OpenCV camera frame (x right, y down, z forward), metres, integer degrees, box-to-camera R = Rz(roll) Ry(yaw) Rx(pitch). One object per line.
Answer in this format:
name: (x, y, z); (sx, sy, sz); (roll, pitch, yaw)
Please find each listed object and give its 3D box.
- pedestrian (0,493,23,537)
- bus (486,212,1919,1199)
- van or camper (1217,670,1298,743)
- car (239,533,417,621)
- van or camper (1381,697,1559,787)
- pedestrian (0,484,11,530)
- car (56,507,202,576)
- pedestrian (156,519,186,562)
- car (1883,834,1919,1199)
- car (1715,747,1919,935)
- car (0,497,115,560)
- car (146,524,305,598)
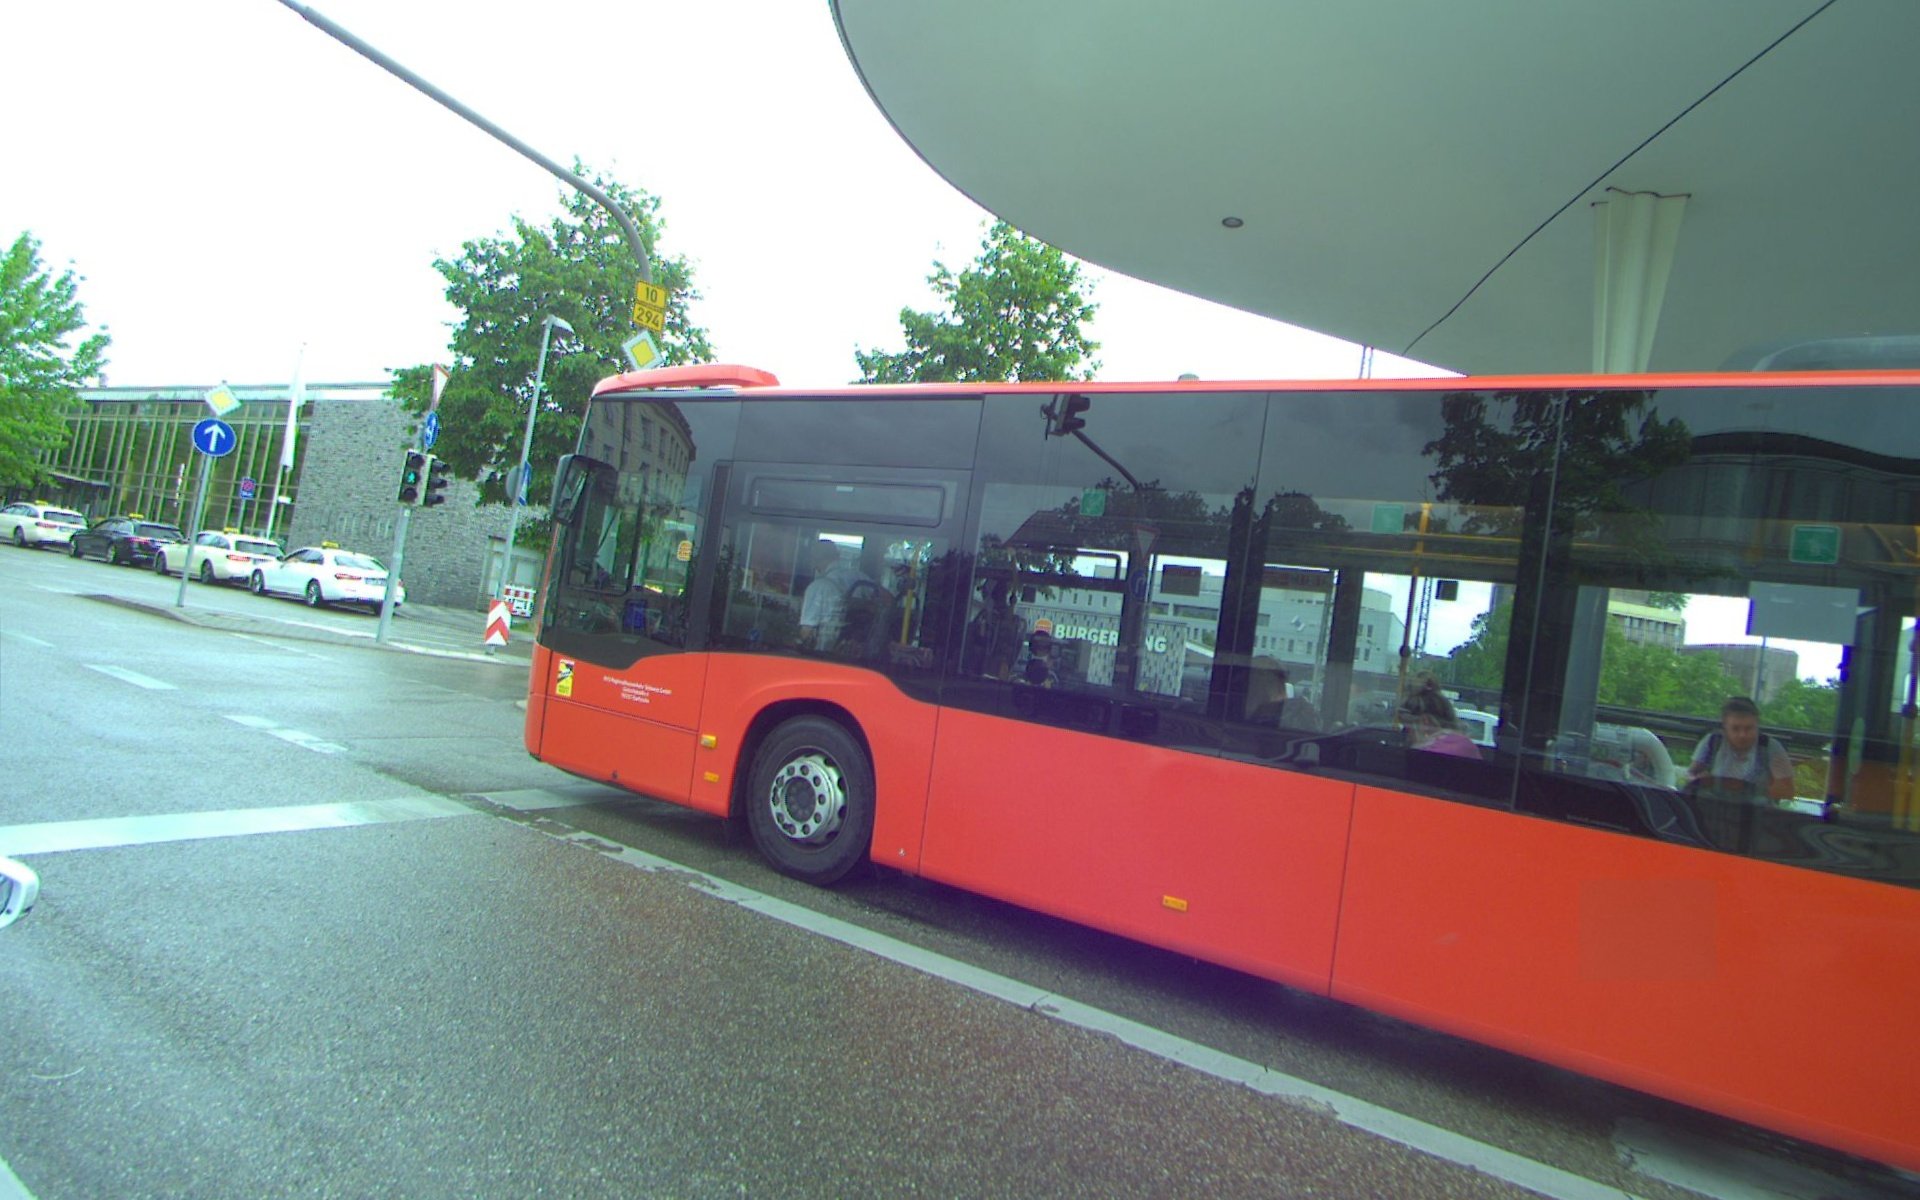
pedestrian: (-47.171, -4.224, 49.758); (0.814, 2.037, 0.771); (7, -1, 30)
bus: (1.904, 0.293, 5.433); (10.025, 3.210, 2.749); (7, -2, 32)
van or camper: (12.268, 4.368, 41.157); (2.072, 2.491, 5.975); (7, -3, 25)
car: (-16.112, -0.605, 25.592); (4.538, 1.608, 1.779); (7, -2, 30)
van or camper: (20.064, 5.526, 39.691); (5.873, 2.491, 2.108); (7, -2, 32)
pedestrian: (-52.812, -5.146, 55.040); (0.848, 2.439, 0.844); (7, -1, 34)
car: (-26.249, -1.848, 31.748); (4.661, 1.542, 1.918); (7, -2, 30)
pedestrian: (-33.065, -2.477, 42.177); (0.703, 1.665, 0.565); (7, -1, 27)
car: (3.509, 1.271, 0.367); (4.360, 1.496, 1.751); (6, -4, 30)
car: (10.966, 2.790, 10.708); (4.359, 1.666, 1.806); (7, -4, 32)
car: (-31.688, -2.524, 34.667); (4.736, 1.618, 2.000); (7, -2, 25)
car: (-20.834, -1.126, 28.487); (4.588, 1.468, 1.851); (7, -2, 30)
